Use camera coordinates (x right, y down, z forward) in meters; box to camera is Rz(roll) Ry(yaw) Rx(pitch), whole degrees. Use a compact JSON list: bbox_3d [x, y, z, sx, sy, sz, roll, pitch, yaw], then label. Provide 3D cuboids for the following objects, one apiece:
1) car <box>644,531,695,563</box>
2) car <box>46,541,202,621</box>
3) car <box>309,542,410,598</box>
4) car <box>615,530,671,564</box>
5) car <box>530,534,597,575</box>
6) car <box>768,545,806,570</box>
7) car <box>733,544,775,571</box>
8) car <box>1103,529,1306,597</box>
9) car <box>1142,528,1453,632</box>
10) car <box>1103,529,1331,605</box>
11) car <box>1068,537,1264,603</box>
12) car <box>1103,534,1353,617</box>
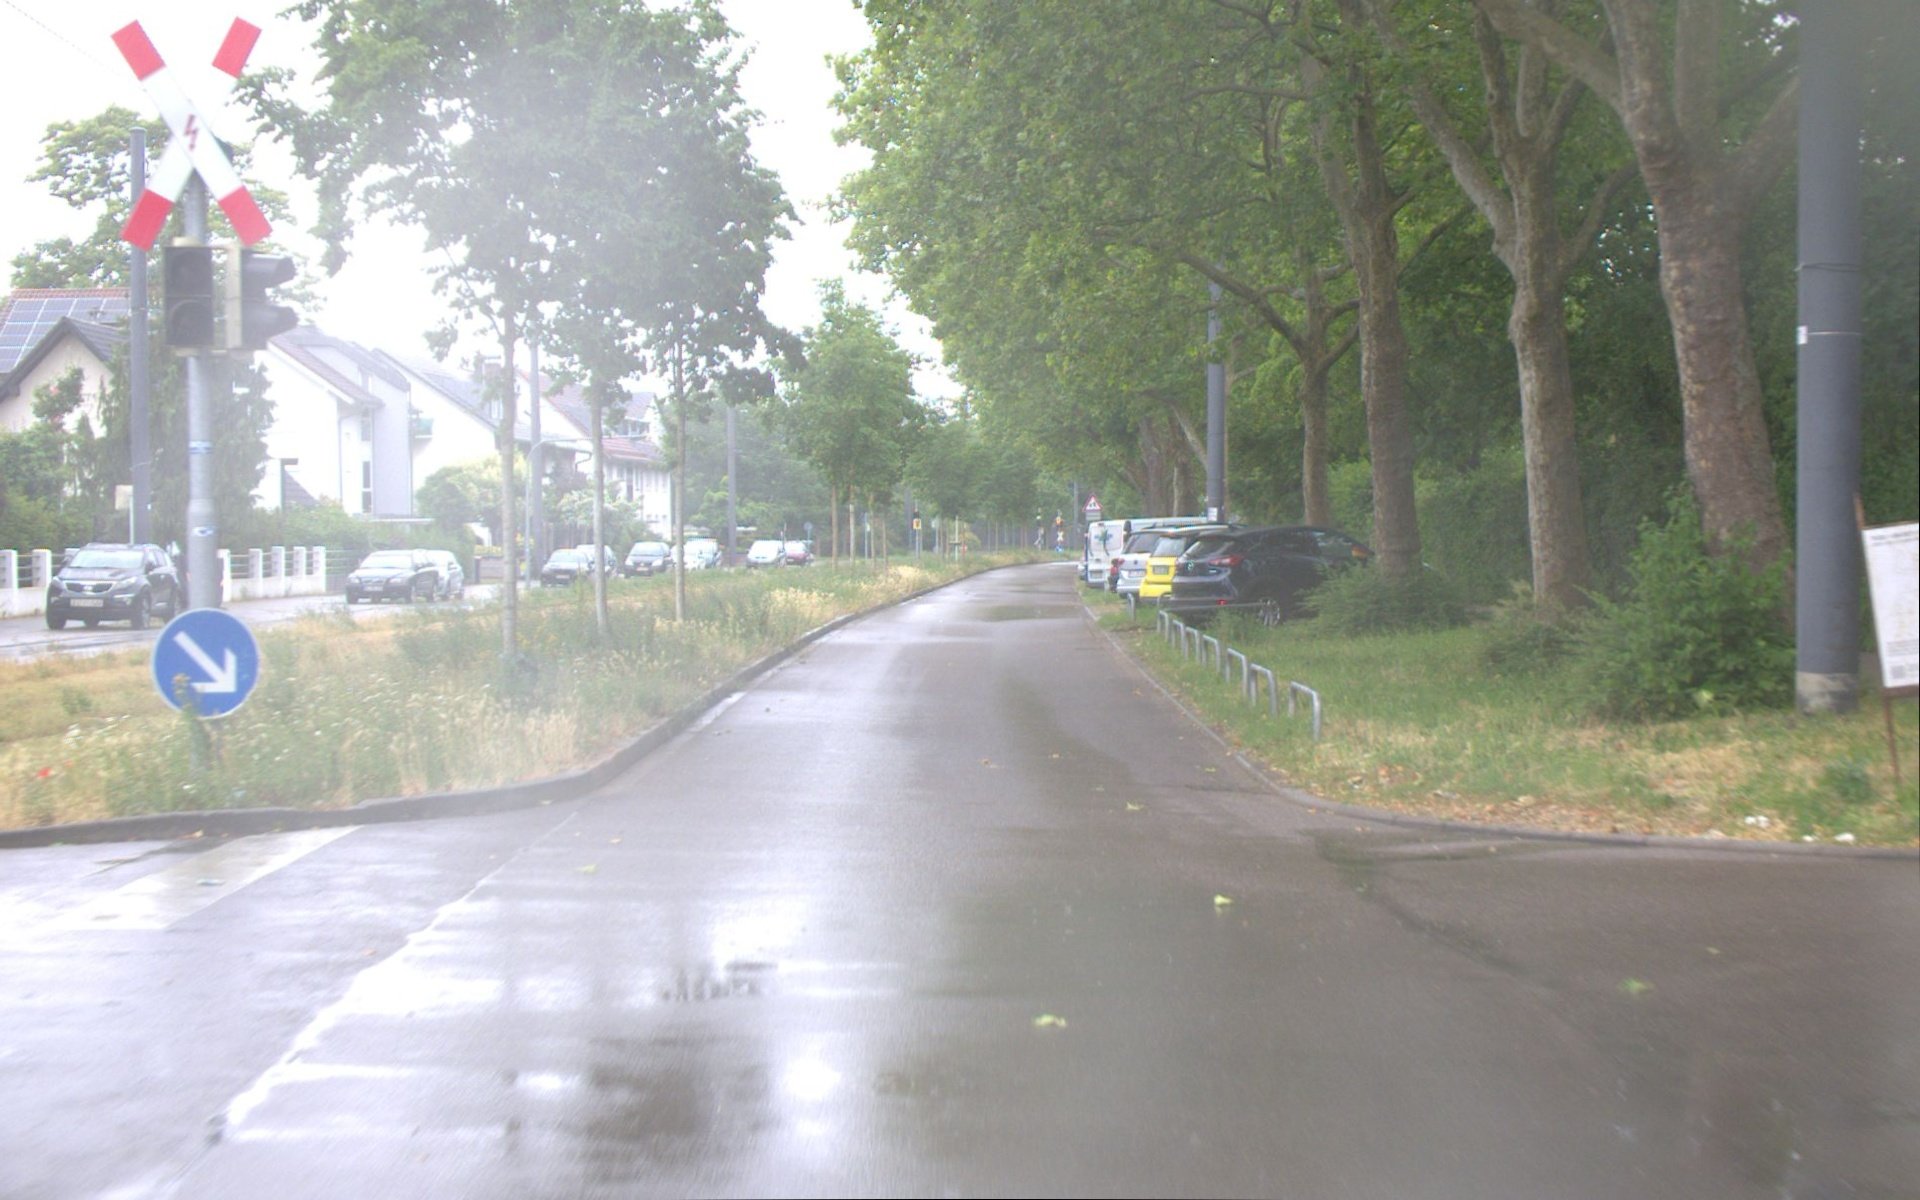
[{"bbox_3d":[-13.651,-2.495,161.642,1.928,1.481,4.000,0,0,2],"label":"car"},{"bbox_3d":[-16.076,-0.375,66.302,1.928,1.481,4.000,0,0,2],"label":"car"},{"bbox_3d":[-16.203,-0.811,92.903,1.928,1.481,4.000,0,0,2],"label":"car"},{"bbox_3d":[-13.782,-2.296,149.563,1.928,1.481,4.000,0,0,2],"label":"car"},{"bbox_3d":[-14.669,-1.679,127.334,1.928,1.481,4.000,0,0,2],"label":"car"},{"bbox_3d":[-10.351,-2.540,205.607,1.928,1.481,4.000,0,0,2],"label":"car"},{"bbox_3d":[-11.470,-2.373,191.620,1.928,1.481,4.000,0,0,2],"label":"car"},{"bbox_3d":[5.335,-0.801,75.185,3.986,1.448,2.001,0,0,-15],"label":"car"},{"bbox_3d":[4.816,-0.281,49.260,3.986,1.448,2.001,0,0,-15],"label":"car"},{"bbox_3d":[4.988,-0.639,66.969,3.986,1.448,2.001,0,0,-15],"label":"car"},{"bbox_3d":[4.634,-0.671,77.511,3.986,1.448,2.001,0,0,-15],"label":"car"},{"bbox_3d":[4.740,-0.432,60.975,3.986,1.448,2.001,0,0,-15],"label":"car"}]
